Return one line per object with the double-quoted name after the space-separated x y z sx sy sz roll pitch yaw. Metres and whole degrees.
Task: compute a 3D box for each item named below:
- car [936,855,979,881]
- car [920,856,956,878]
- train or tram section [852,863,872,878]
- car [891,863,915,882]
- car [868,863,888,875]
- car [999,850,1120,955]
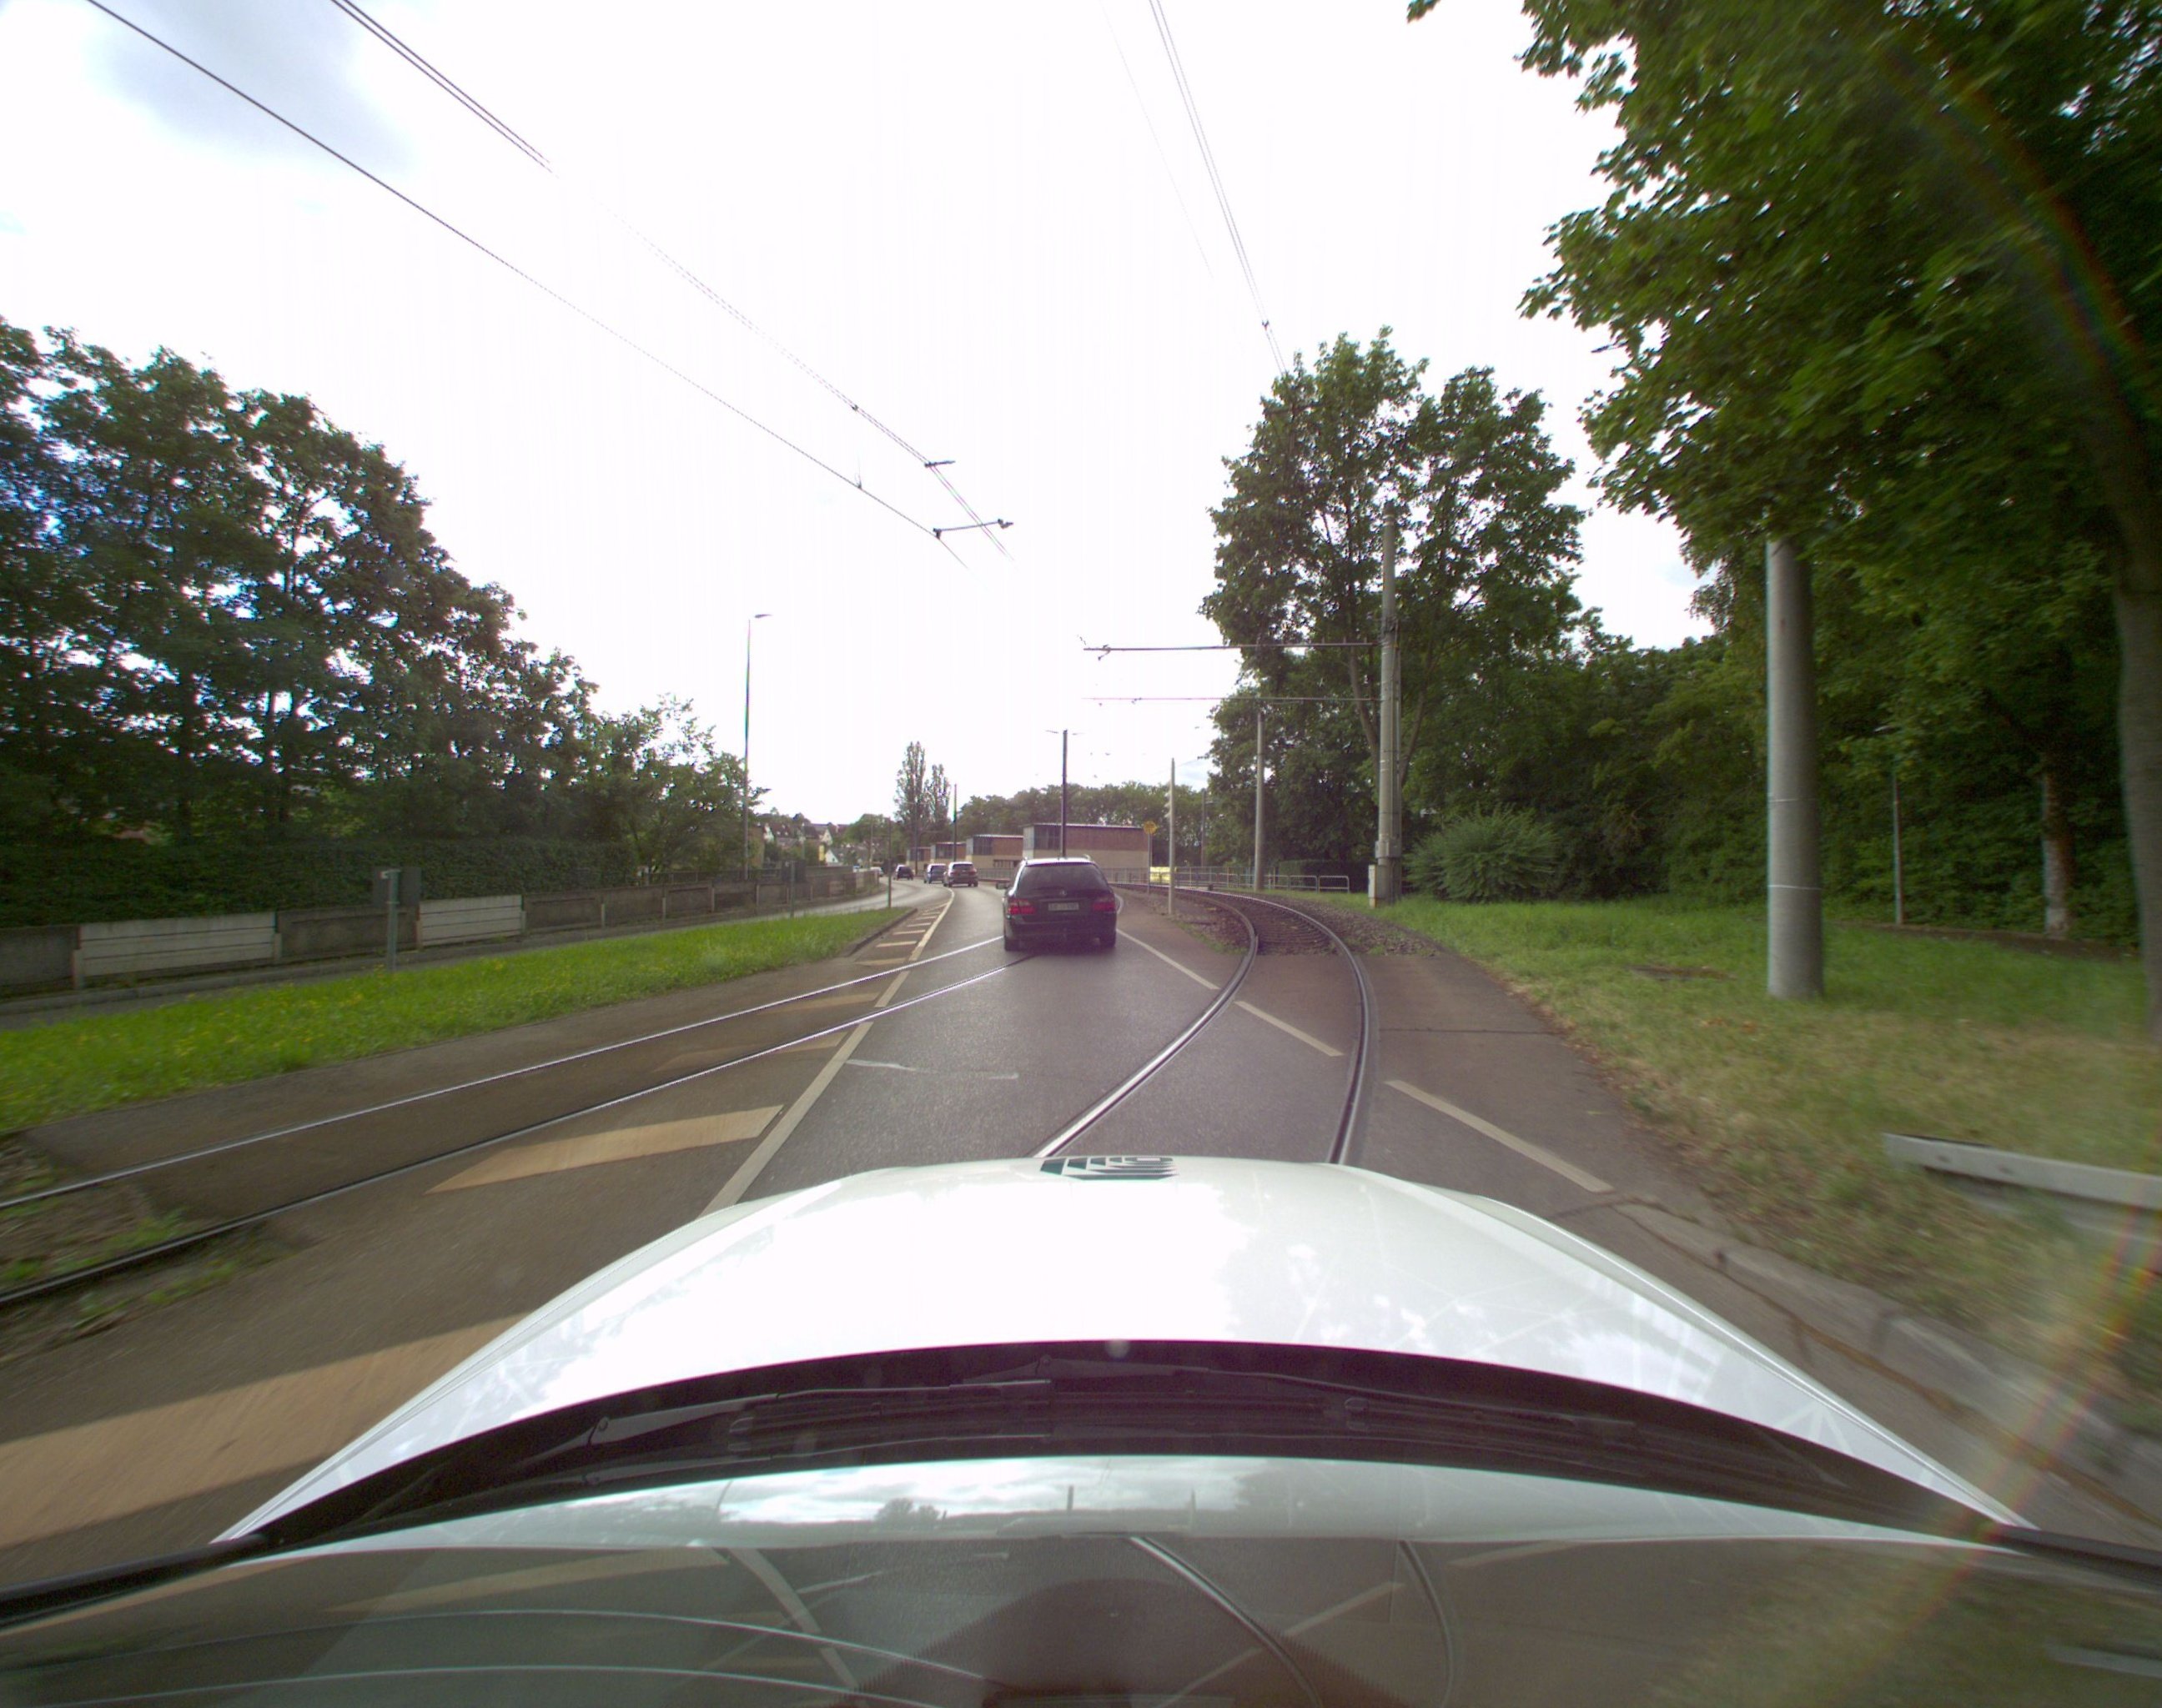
-7.605 0.858 49.933 1.777 1.555 4.210 0 -1 -21 "car"
-11.029 0.971 62.541 1.999 1.564 4.967 -2 1 -18 "car"
-53.595 3.979 199.043 2.893 3.509 18.533 -1 -1 -21 "train or tram section"
-17.472 1.818 79.913 1.998 1.672 4.515 -2 0 -16 "car"
-26.264 1.908 105.250 2.000 1.571 4.872 1 -1 -20 "car"
-0.314 0.714 14.288 1.753 1.515 4.442 -1 0 0 "car"
